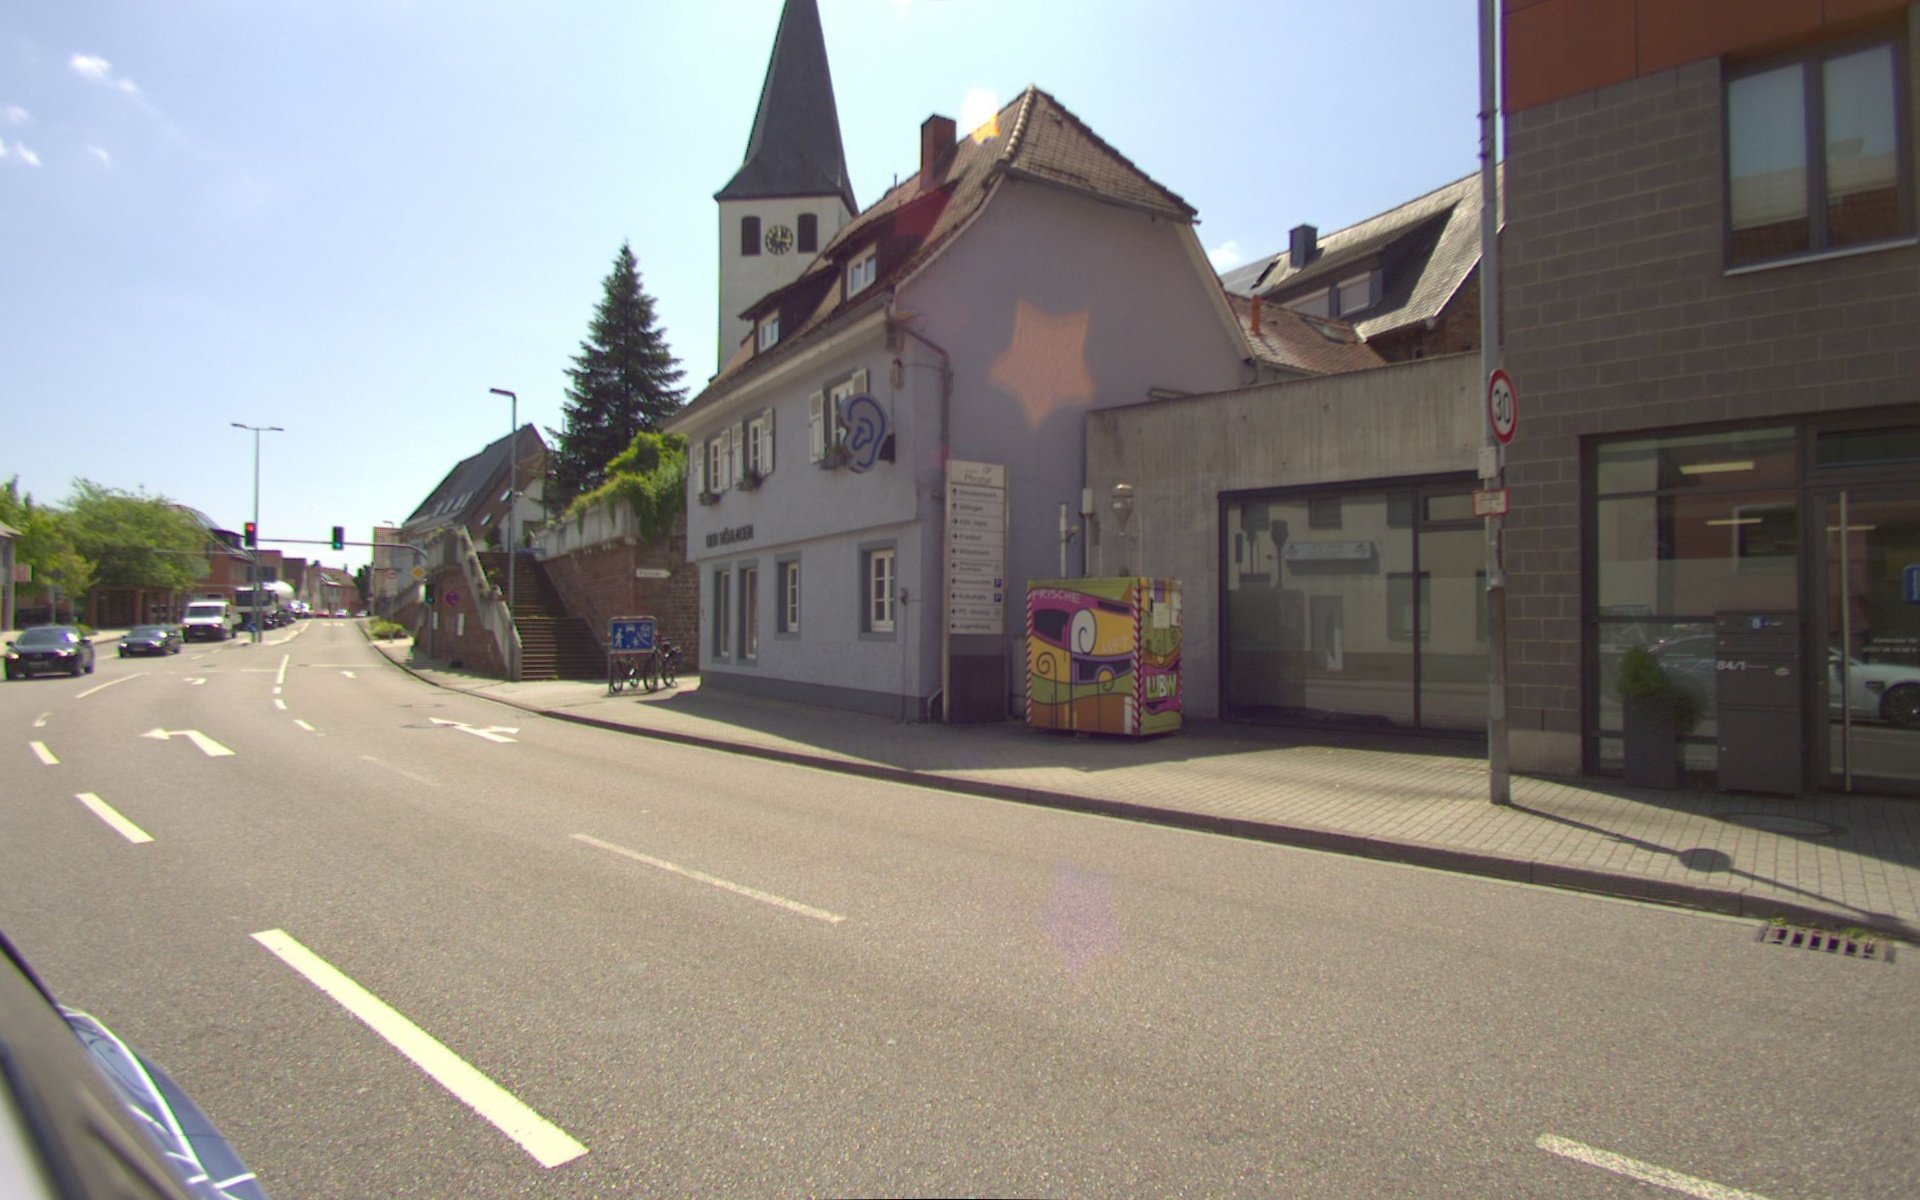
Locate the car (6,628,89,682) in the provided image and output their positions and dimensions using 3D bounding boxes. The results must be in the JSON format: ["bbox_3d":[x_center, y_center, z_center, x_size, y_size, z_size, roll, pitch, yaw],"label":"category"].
[{"bbox_3d":[-29.821,1.743,33.182,1.698,1.562,4.312,-2,0,-38],"label":"car"}]

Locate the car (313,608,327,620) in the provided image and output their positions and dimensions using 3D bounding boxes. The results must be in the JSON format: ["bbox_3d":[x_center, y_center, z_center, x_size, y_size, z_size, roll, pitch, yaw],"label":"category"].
[{"bbox_3d":[-101.944,2.206,161.318,1.737,1.799,4.012,-1,0,-30],"label":"car"}]

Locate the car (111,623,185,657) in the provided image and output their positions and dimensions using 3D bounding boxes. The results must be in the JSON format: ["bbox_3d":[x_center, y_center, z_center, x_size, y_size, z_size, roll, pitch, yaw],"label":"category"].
[{"bbox_3d":[-38.332,1.862,47.874,1.897,1.376,4.317,-2,0,-28],"label":"car"}]

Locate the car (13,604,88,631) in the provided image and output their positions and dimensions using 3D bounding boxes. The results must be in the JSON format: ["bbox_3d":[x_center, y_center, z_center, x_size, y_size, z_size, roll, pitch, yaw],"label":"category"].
[{"bbox_3d":[-64.534,1.224,71.847,3.700,1.723,1.729,-2,1,-34],"label":"car"}]

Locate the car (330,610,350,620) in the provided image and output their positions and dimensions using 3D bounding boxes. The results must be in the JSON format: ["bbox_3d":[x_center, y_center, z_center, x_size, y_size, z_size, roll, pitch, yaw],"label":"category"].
[{"bbox_3d":[-98.362,2.400,160.483,1.978,1.643,4.593,0,-1,-22],"label":"car"}]

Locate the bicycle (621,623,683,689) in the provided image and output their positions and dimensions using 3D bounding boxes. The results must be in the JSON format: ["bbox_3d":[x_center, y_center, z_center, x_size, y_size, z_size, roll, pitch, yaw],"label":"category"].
[{"bbox_3d":[-6.626,1.180,21.840,0.571,1.258,1.829,-4,1,5],"label":"bicycle"}]

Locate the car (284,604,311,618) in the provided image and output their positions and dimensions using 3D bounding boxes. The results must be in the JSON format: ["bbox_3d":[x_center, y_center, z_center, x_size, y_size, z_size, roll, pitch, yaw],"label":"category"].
[{"bbox_3d":[-78.069,1.306,119.291,1.978,1.643,4.593,0,-1,-24],"label":"car"}]

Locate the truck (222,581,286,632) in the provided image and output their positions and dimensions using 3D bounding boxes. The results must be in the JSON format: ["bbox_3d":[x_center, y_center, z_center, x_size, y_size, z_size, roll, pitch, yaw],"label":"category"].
[{"bbox_3d":[-51.571,0.493,74.040,2.801,3.597,5.486,0,-1,-24],"label":"truck"}]

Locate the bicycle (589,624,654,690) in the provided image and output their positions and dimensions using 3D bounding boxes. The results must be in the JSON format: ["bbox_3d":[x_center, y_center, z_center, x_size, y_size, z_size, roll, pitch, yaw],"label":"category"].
[{"bbox_3d":[-7.270,1.195,21.830,0.571,1.258,1.829,-4,1,5],"label":"bicycle"}]

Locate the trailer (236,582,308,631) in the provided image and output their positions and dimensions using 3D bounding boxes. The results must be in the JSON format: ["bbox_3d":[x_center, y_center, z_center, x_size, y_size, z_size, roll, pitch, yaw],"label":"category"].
[{"bbox_3d":[-54.281,0.553,80.129,2.790,3.597,11.001,0,-1,-24],"label":"trailer"}]

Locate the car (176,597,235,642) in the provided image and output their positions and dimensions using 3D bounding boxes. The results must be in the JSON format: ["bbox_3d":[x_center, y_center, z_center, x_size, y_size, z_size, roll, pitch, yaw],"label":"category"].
[{"bbox_3d":[-45.174,1.159,60.733,2.139,2.583,4.839,0,-1,-28],"label":"car"}]
